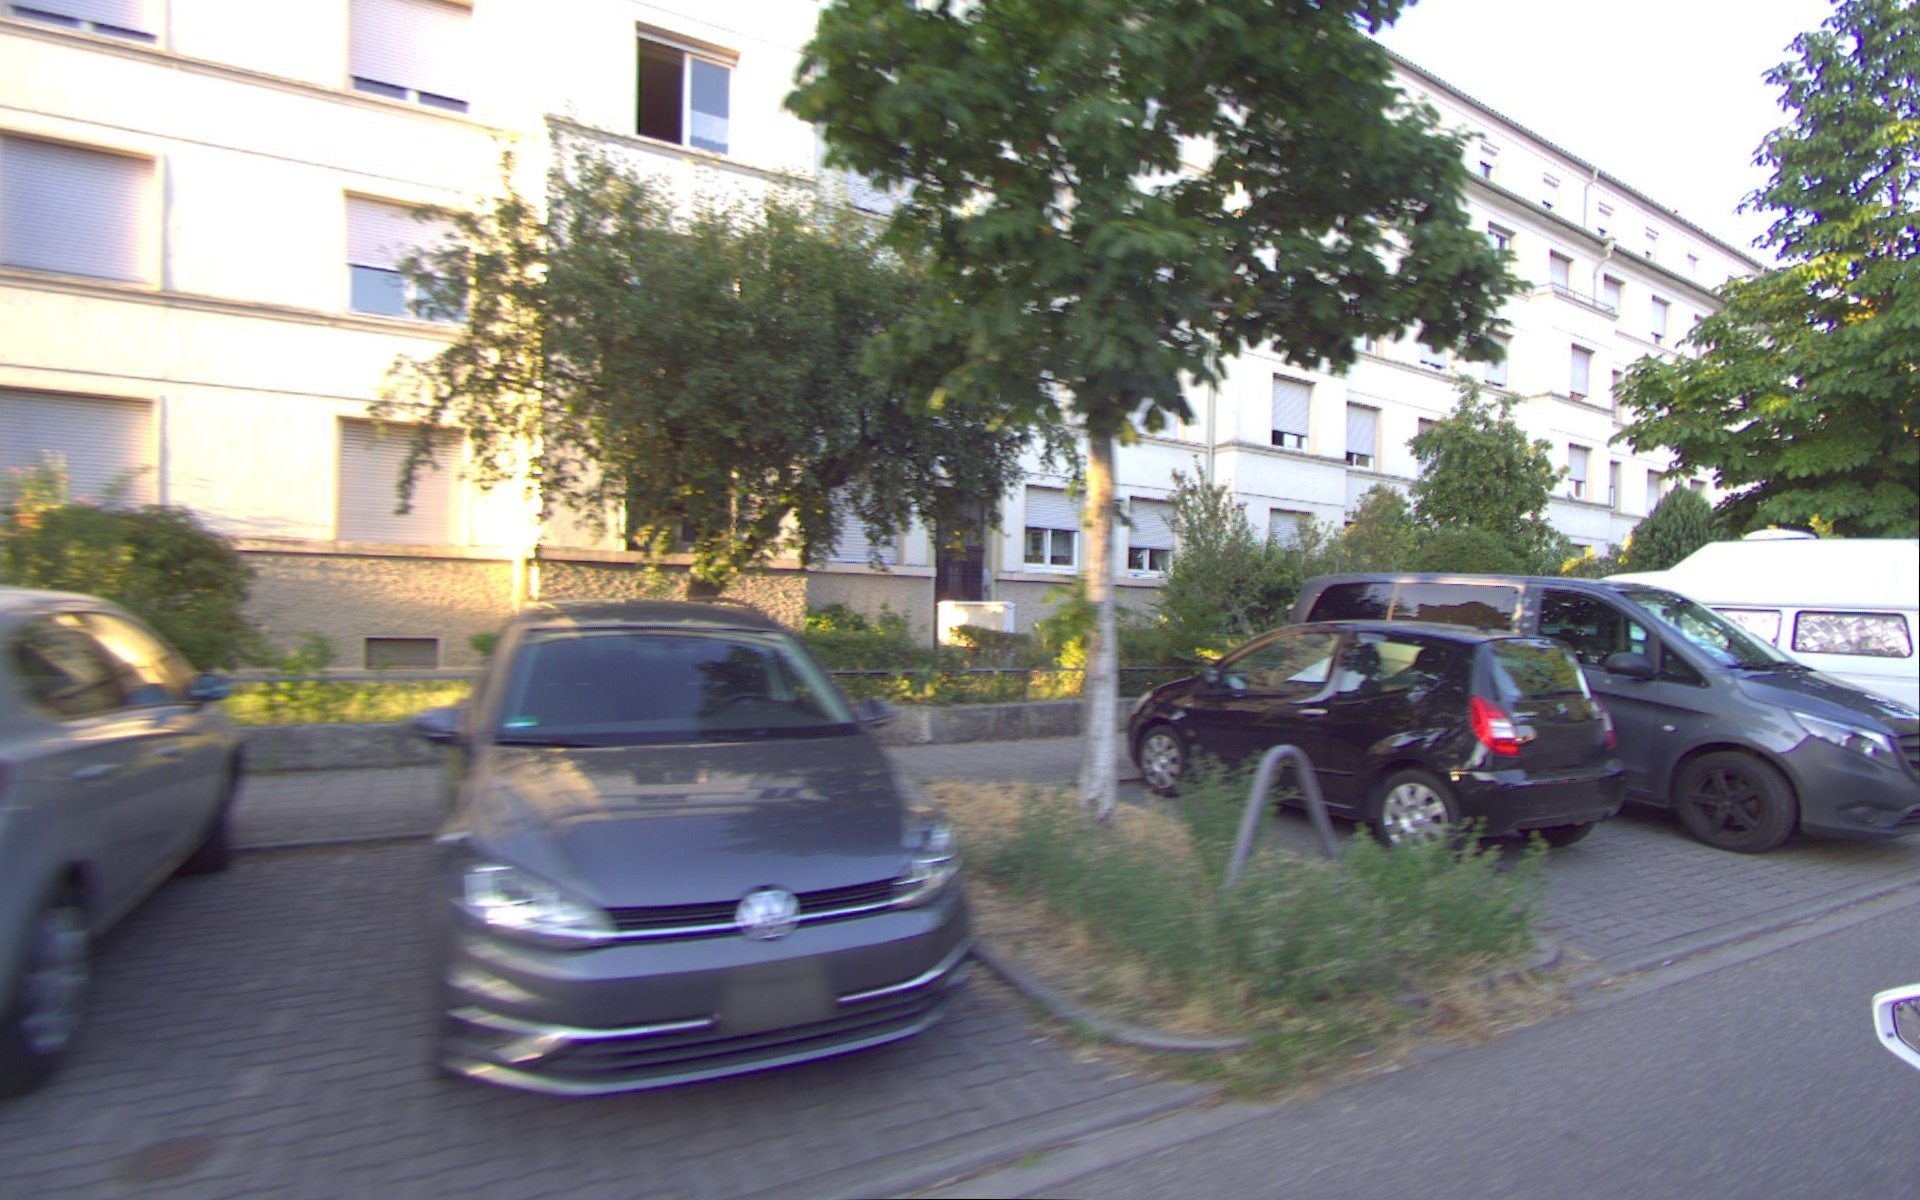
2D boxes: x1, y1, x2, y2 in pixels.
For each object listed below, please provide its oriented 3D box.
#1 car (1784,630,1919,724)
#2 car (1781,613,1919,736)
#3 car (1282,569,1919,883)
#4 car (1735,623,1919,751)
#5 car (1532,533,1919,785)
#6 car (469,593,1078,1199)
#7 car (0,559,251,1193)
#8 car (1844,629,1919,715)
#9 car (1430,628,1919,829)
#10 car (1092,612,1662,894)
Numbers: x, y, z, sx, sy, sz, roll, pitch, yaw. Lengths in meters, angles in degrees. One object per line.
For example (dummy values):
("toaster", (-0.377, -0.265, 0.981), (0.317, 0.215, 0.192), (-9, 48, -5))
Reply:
("car", (17.194, 1.370, 17.590), (1.773, 1.544, 3.958), (1, 0, -36))
("car", (15.321, 1.163, 15.403), (1.822, 1.801, 3.841), (1, 0, -31))
("car", (5.295, 0.759, 8.589), (1.978, 1.898, 4.647), (1, 0, -32))
("car", (13.331, 1.193, 13.817), (1.765, 1.616, 3.841), (1, 0, -31))
("car", (9.445, 0.576, 11.631), (1.978, 2.463, 4.477), (1, 0, -32))
("car", (-1.322, 0.726, 4.634), (1.662, 1.413, 4.229), (2, 0, -26))
("car", (-3.972, 0.630, 3.786), (1.632, 1.543, 3.787), (2, 1, -28))
("car", (19.534, 1.420, 18.987), (1.714, 1.604, 3.960), (1, 0, -35))
("car", (7.285, 1.080, 10.196), (1.978, 1.444, 4.152), (1, 0, -32))
("car", (2.825, 0.887, 7.621), (1.637, 1.458, 3.749), (1, 0, -31))
